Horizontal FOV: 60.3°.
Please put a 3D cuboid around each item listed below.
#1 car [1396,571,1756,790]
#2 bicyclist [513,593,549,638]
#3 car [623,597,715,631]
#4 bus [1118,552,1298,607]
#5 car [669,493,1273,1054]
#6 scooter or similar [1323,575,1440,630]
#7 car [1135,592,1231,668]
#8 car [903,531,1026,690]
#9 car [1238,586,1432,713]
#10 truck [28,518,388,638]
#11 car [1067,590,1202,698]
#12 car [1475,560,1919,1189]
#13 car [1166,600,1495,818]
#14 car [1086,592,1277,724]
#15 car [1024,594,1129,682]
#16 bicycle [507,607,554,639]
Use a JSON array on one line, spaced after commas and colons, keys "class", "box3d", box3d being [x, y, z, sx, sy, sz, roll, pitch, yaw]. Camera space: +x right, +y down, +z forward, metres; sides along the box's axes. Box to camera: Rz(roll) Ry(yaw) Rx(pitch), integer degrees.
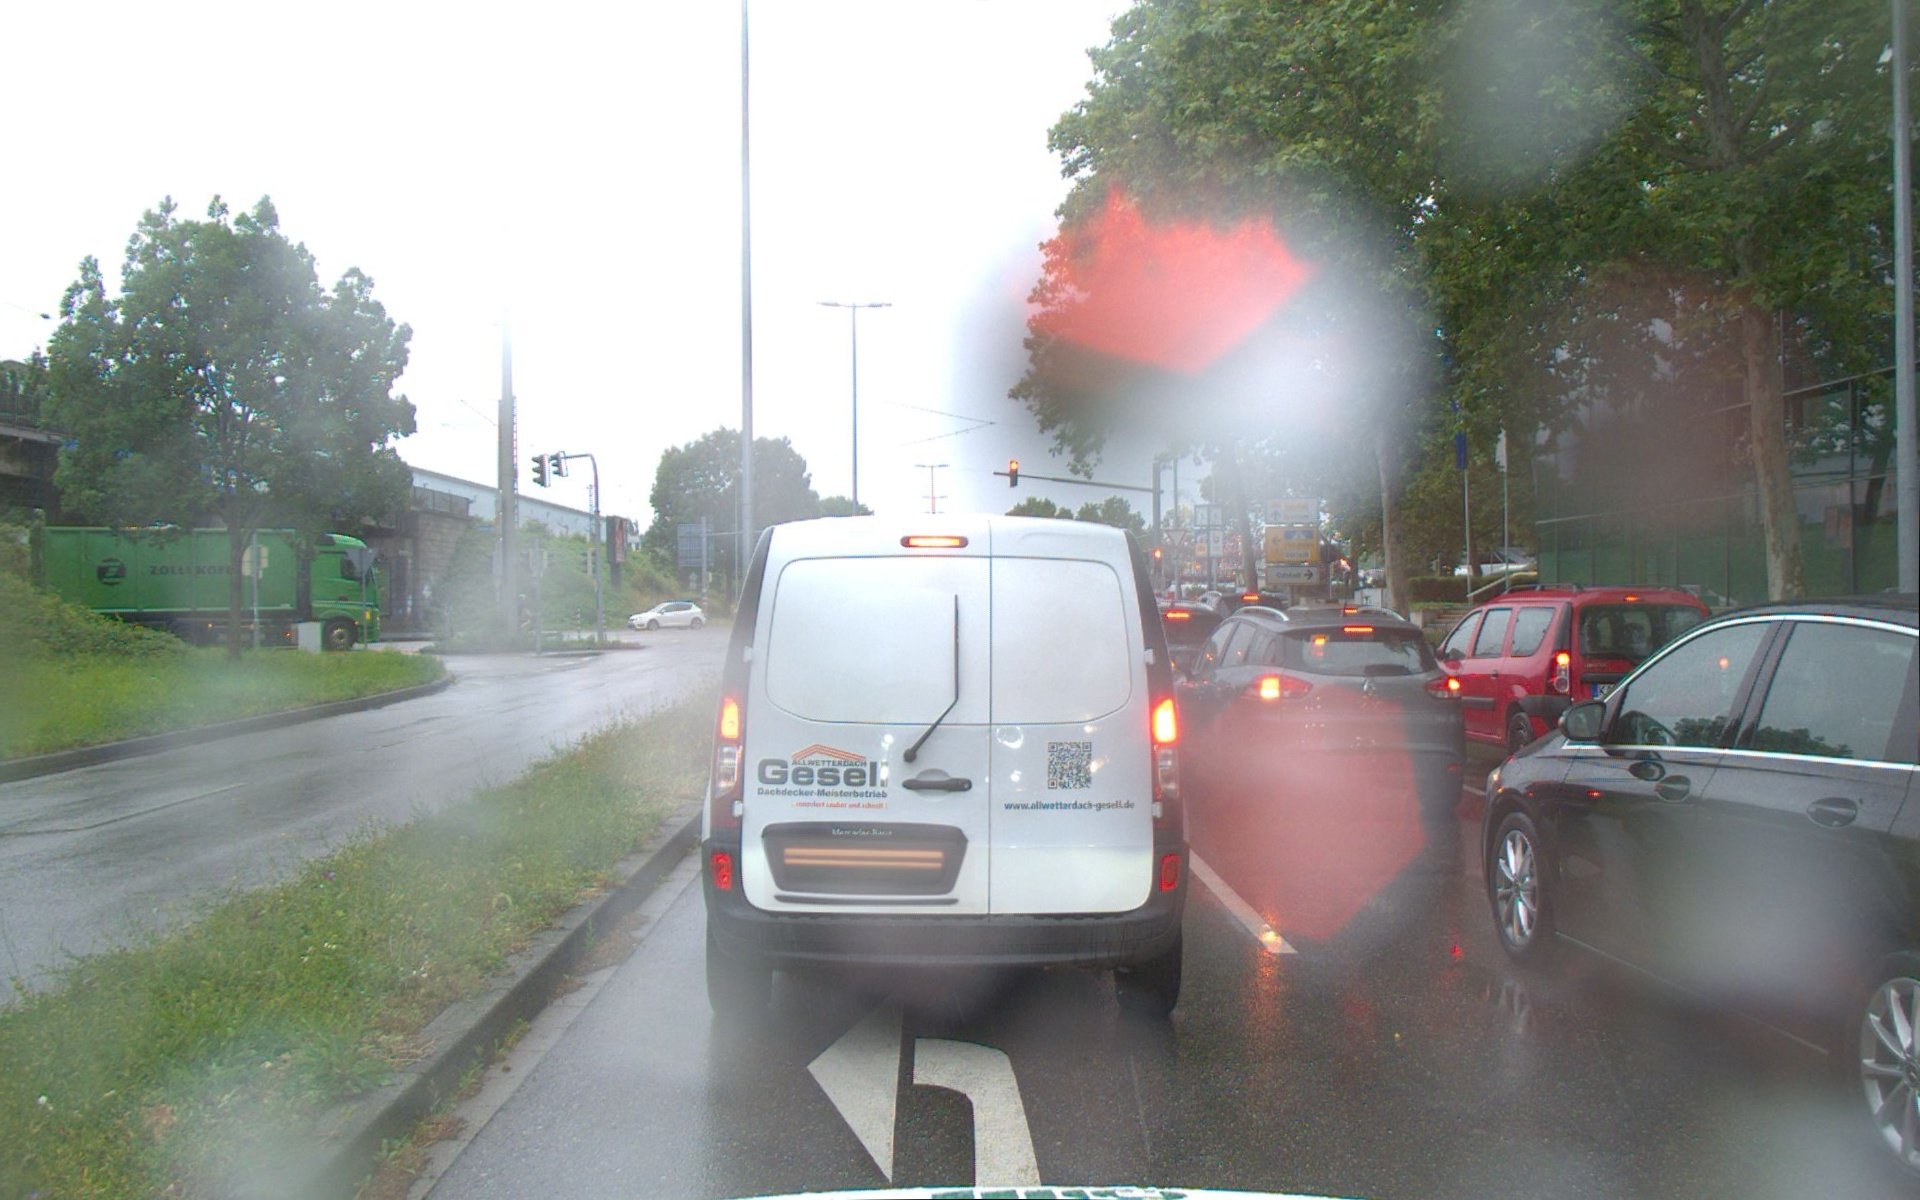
[{"class": "car", "box3d": [5.488, 0.664, 15.346, 1.676, 1.724, 4.271, 1, -1, -1]}, {"class": "bicyclist", "box3d": [-14.332, 0.510, 55.215, 1.028, 1.475, 0.723, -1, 1, -26]}, {"class": "car", "box3d": [-14.808, 0.705, 84.165, 4.201, 1.624, 1.975, -1, 0, -36]}, {"class": "bus", "box3d": [16.595, -1.396, 111.151, 11.727, 3.483, 2.315, -1, 1, -1]}, {"class": "car", "box3d": [0.007, 0.542, 7.642, 1.953, 1.807, 4.584, 0, 0, -1]}, {"class": "scooter or similar", "box3d": [19.667, 0.101, 77.359, 1.878, 2.489, 5.239, 0, 0, -41]}, {"class": "car", "box3d": [5.166, 0.682, 38.701, 1.674, 1.678, 3.842, 1, 0, -1]}, {"class": "car", "box3d": [0.035, 0.140, 26.347, 1.816, 2.336, 3.842, 0, 0, -1]}, {"class": "car", "box3d": [5.369, 0.642, 24.202, 1.838, 1.641, 3.999, 2, 1, -1]}, {"class": "truck", "box3d": [-23.119, -0.657, 51.367, 9.956, 3.430, 2.316, 0, 0, -37]}, {"class": "car", "box3d": [2.868, 0.681, 27.893, 1.816, 1.678, 3.842, 0, 0, -1]}, {"class": "car", "box3d": [3.239, 0.691, 5.447, 1.712, 1.582, 4.089, 0, 0, -2]}, {"class": "car", "box3d": [2.754, 0.742, 13.143, 1.649, 1.433, 3.842, 1, 0, -2]}, {"class": "car", "box3d": [2.656, 0.644, 20.663, 1.816, 1.486, 3.842, 0, 0, -1]}, {"class": "car", "box3d": [2.303, 0.733, 33.547, 1.816, 1.678, 3.842, 0, 0, -1]}, {"class": "bicycle", "box3d": [-14.375, 0.760, 55.334, 1.027, 0.968, 2.866, -1, 1, -25]}]
